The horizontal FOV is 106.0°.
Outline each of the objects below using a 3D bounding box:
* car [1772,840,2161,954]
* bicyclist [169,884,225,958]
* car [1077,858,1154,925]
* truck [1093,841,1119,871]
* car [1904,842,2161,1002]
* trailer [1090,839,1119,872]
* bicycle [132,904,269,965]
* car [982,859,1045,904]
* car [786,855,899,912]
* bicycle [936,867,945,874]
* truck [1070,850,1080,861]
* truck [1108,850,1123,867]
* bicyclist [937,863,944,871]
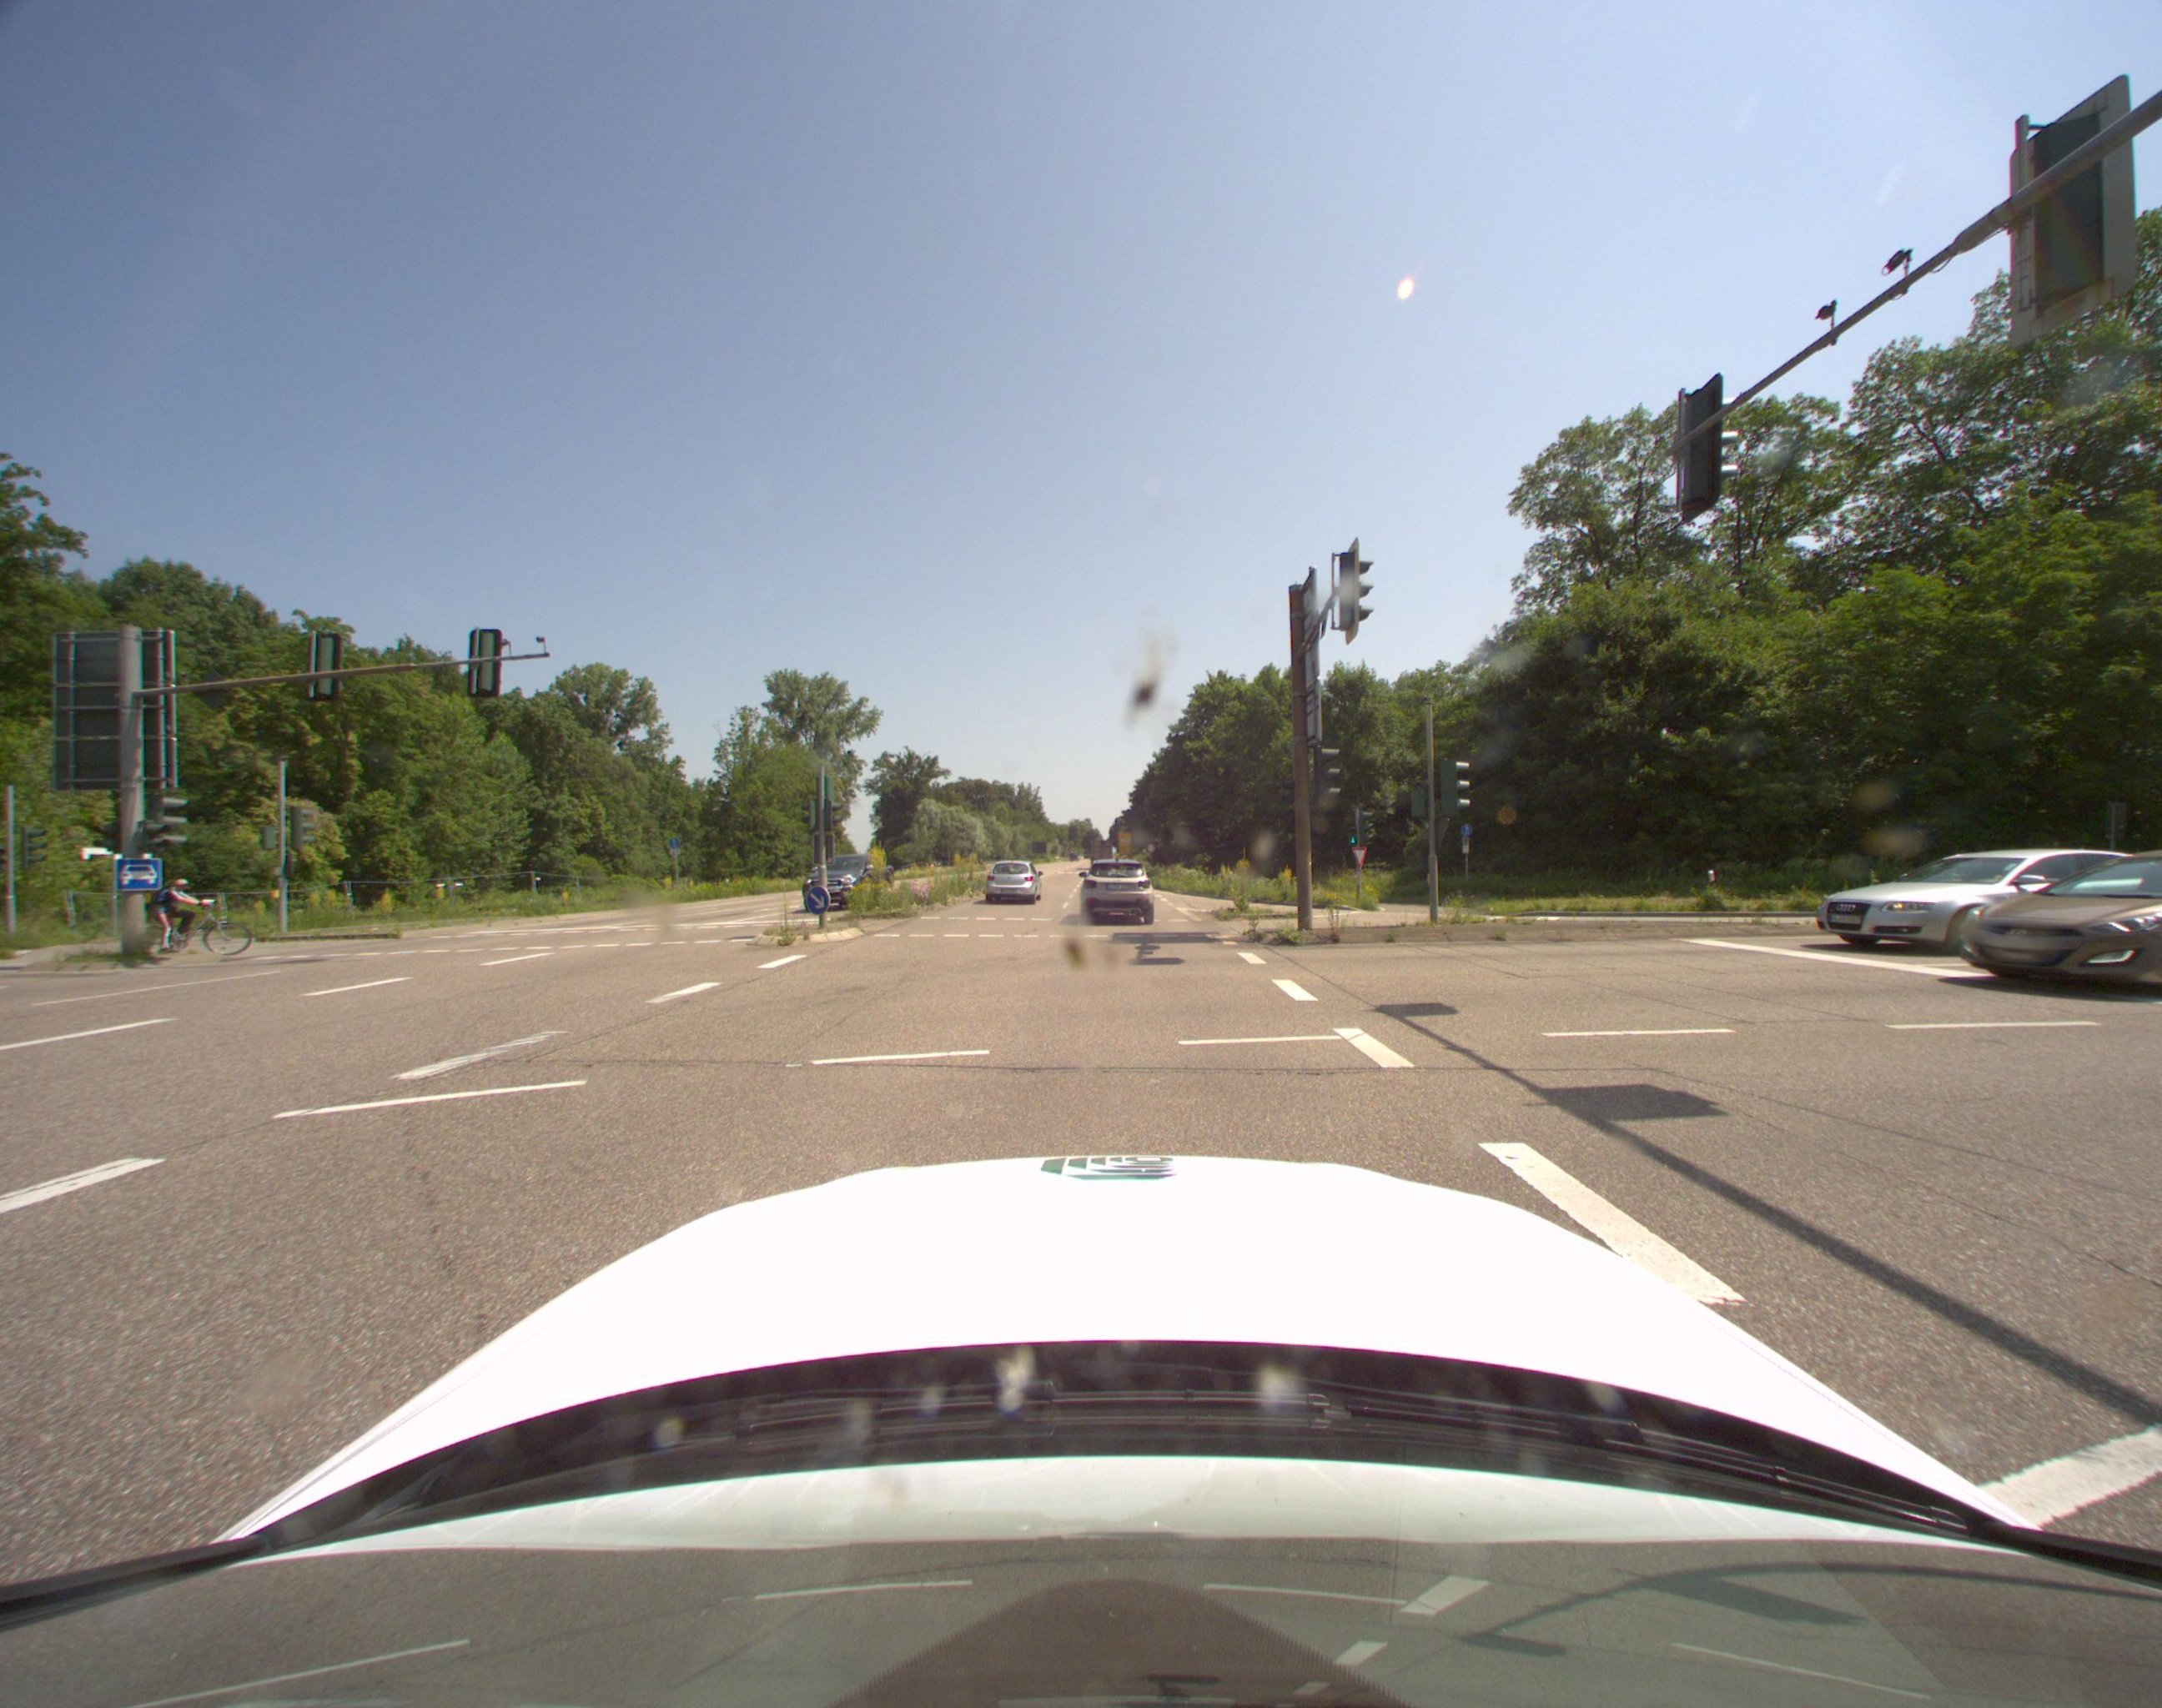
[{"bbox_3d":[13.714,0.603,12.206,4.912,1.498,2.021,-1,-1,2],"label":"car"},{"bbox_3d":[-18.363,1.360,16.907,0.914,1.459,0.721,-2,-1,39],"label":"bicyclist"},{"bbox_3d":[0.896,0.869,20.830,1.760,1.535,4.003,0,0,3],"label":"car"},{"bbox_3d":[3.455,0.301,110.851,3.319,3.989,6.539,0,-1,3],"label":"truck"},{"bbox_3d":[11.801,0.608,8.662,4.079,1.447,1.995,-2,0,-1],"label":"car"},{"bbox_3d":[3.173,0.277,105.654,3.368,3.989,10.813,0,-1,3],"label":"trailer"},{"bbox_3d":[-18.270,1.636,16.935,0.715,1.063,1.881,-2,0,39],"label":"bicycle"},{"bbox_3d":[-2.246,0.893,28.097,1.659,1.430,3.831,0,0,3],"label":"car"},{"bbox_3d":[-7.942,0.928,27.745,1.985,1.678,5.369,-2,0,3],"label":"car"},{"bbox_3d":[-20.130,2.359,116.518,0.600,1.006,1.561,-2,-1,13],"label":"bicycle"},{"bbox_3d":[-1.602,0.418,220.868,2.445,2.656,6.495,-3,0,2],"label":"truck"},{"bbox_3d":[8.899,1.256,210.620,3.484,4.188,10.786,0,-1,1],"label":"truck"},{"bbox_3d":[-20.109,1.870,116.586,0.730,1.195,0.594,-2,-1,13],"label":"bicyclist"}]
